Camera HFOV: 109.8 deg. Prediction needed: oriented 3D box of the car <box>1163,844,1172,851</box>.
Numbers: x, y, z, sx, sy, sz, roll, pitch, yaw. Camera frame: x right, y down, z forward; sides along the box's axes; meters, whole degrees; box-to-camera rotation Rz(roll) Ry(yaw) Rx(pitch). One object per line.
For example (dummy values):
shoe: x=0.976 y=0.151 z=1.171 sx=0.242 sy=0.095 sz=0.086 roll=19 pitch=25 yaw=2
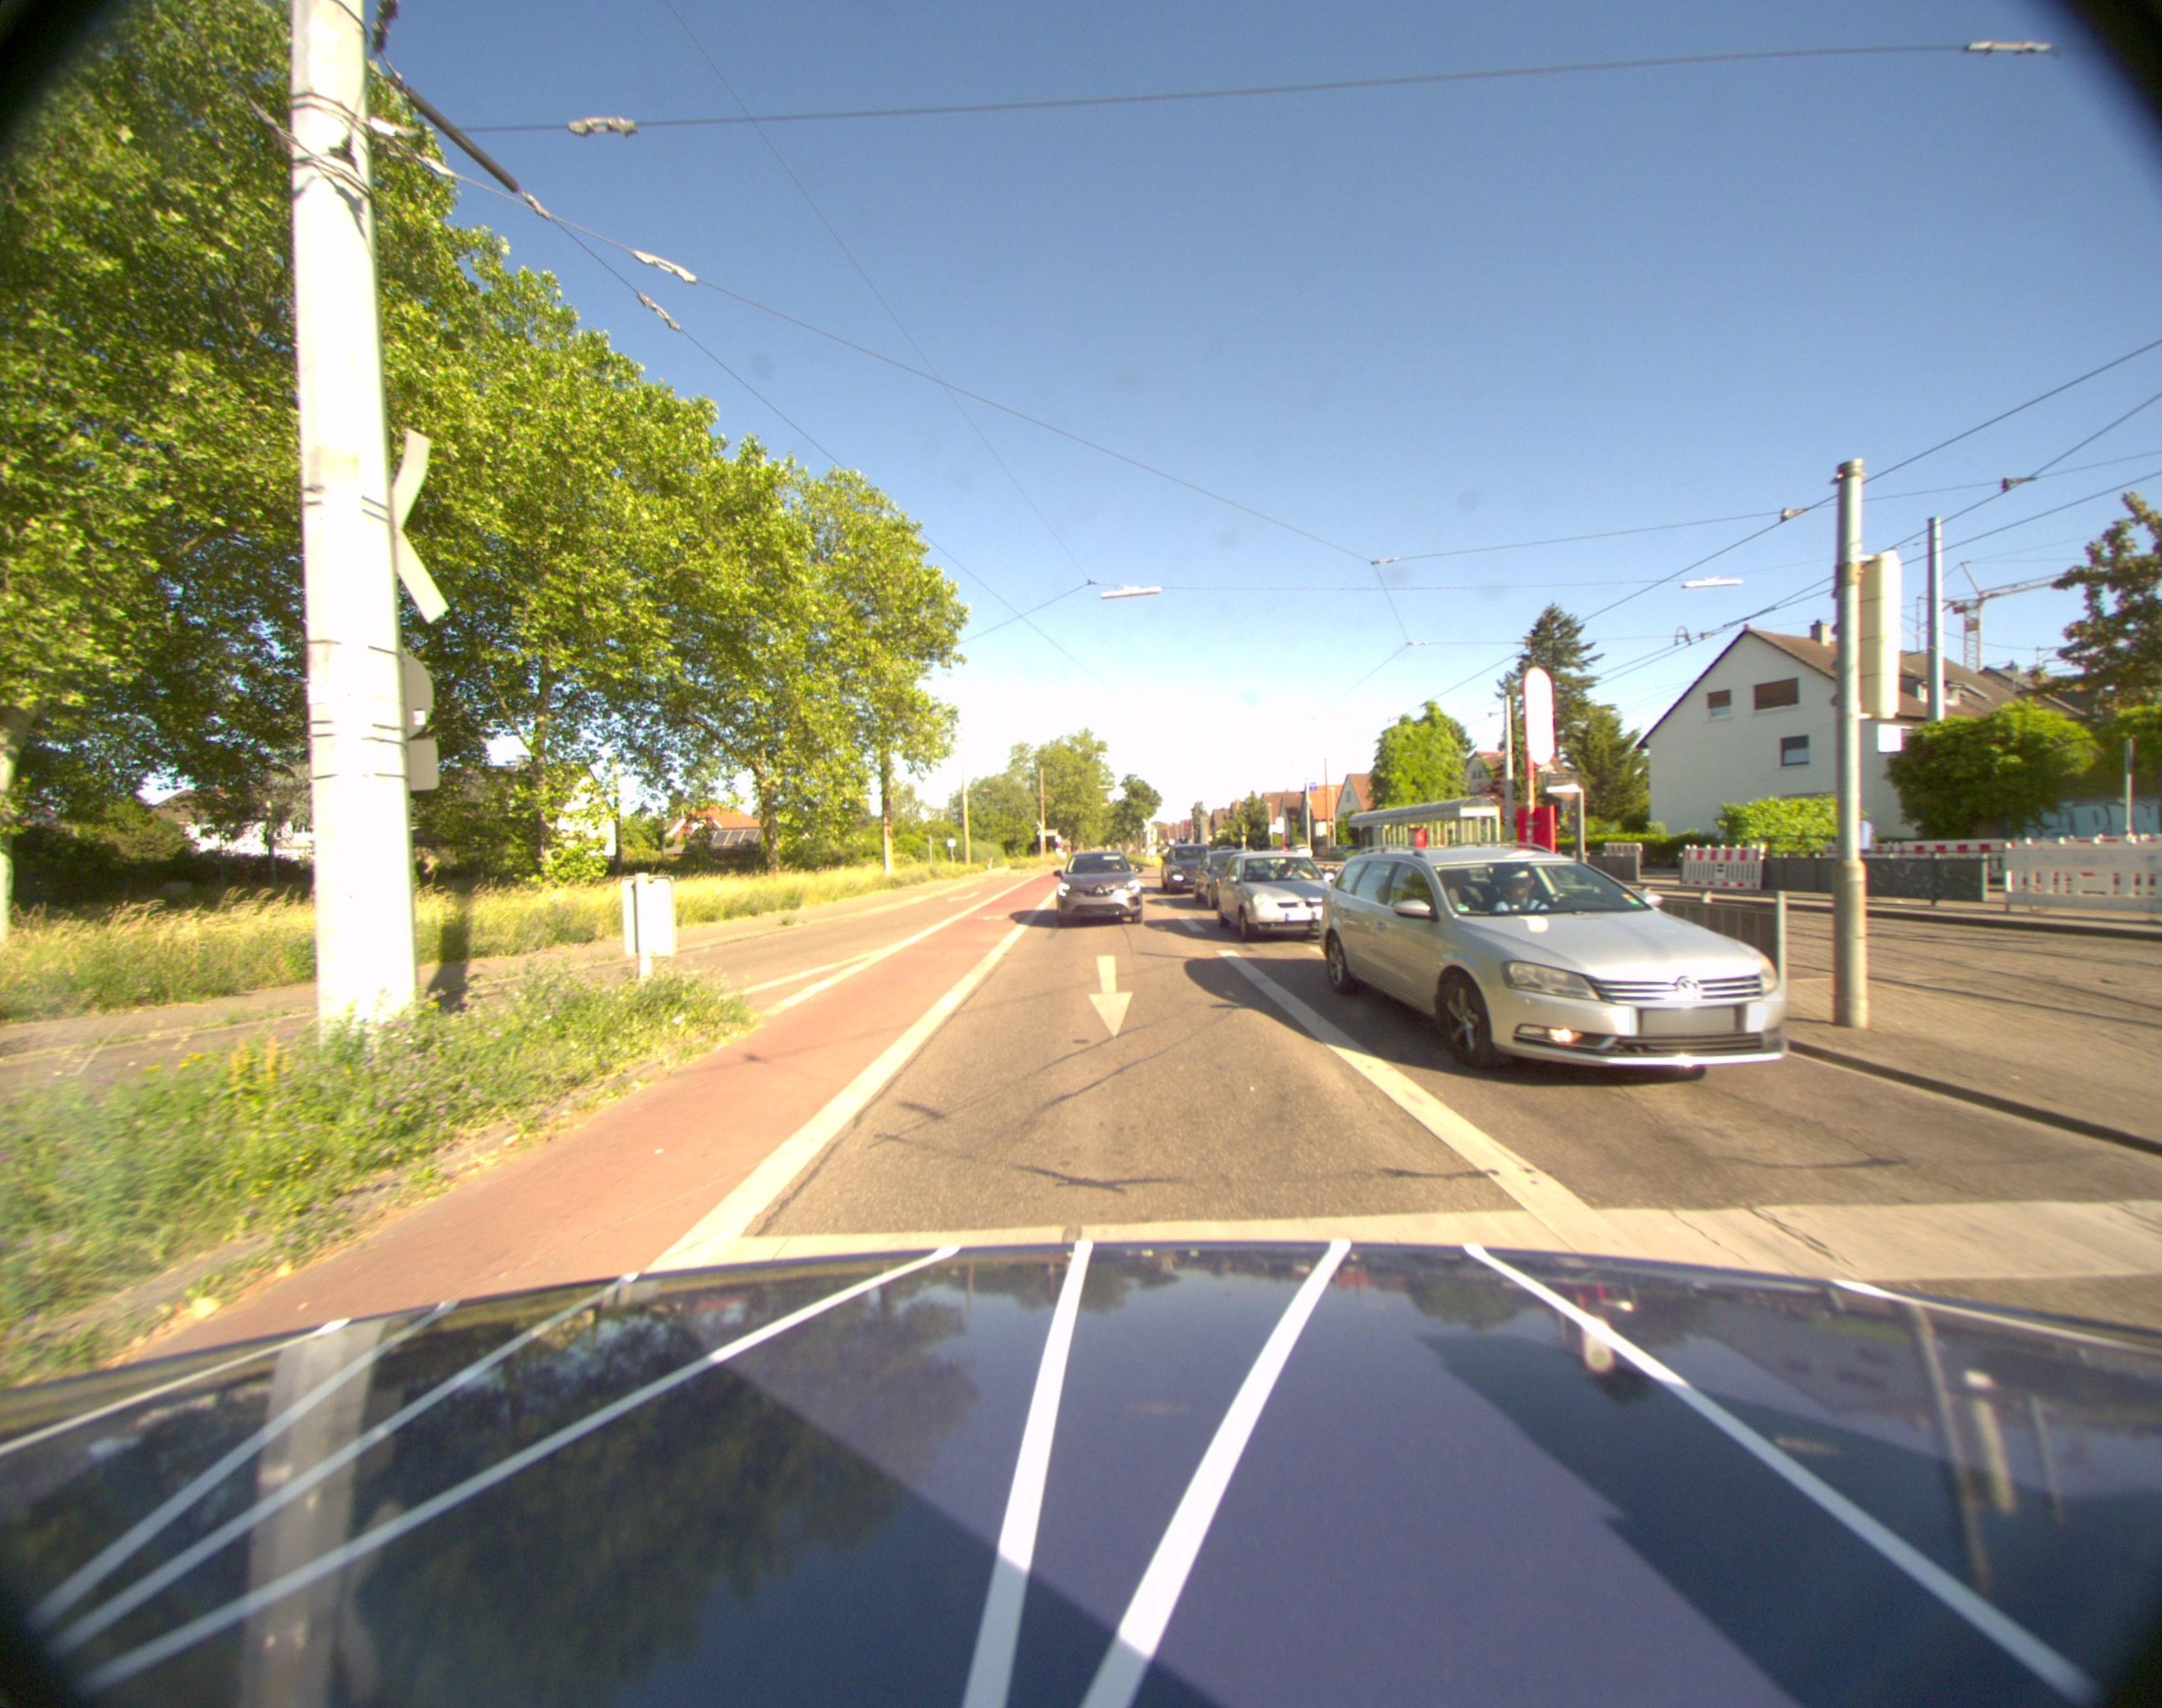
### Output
car: x=21.494 y=-1.685 z=188.950 sx=1.998 sy=1.761 sz=4.000 roll=-2 pitch=0 yaw=2

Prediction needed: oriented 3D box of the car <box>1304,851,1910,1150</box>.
car: x=3.421 y=0.762 z=6.206 sx=1.881 sy=1.519 sz=4.420 roll=-2 pitch=0 yaw=0

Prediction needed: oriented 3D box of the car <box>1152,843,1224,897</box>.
car: x=3.637 y=0.497 z=26.564 sx=1.886 sy=1.686 sz=4.300 roll=-2 pitch=0 yaw=0

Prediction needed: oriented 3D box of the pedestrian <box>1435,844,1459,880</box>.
pedestrian: x=14.826 y=0.321 z=30.791 sx=0.623 sy=1.406 sz=0.711 roll=-2 pitch=1 yaw=0

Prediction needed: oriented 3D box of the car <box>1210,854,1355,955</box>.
car: x=3.333 y=0.762 z=13.200 sx=1.585 sy=1.459 sz=3.414 roll=-2 pitch=0 yaw=0

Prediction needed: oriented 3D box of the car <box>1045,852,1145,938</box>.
car: x=0.315 y=0.771 z=16.210 sx=1.839 sy=1.541 sz=3.816 roll=-2 pitch=0 yaw=2

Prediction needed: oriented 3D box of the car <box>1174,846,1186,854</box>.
car: x=20.710 y=-0.845 z=159.247 sx=1.998 sy=1.455 sz=4.000 roll=-2 pitch=0 yaw=2

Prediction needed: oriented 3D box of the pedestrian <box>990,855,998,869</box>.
pedestrian: x=-6.760 y=0.624 z=58.998 sx=0.482 sy=1.027 sz=0.454 roll=-2 pitch=1 yaw=2

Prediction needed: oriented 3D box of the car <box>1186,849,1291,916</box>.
car: x=3.981 y=0.654 z=19.856 sx=1.755 sy=1.525 sz=4.194 roll=-2 pitch=0 yaw=-1

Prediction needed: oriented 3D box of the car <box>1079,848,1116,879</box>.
car: x=0.857 y=0.492 z=40.665 sx=1.839 sy=1.541 sz=3.815 roll=-2 pitch=0 yaw=0
